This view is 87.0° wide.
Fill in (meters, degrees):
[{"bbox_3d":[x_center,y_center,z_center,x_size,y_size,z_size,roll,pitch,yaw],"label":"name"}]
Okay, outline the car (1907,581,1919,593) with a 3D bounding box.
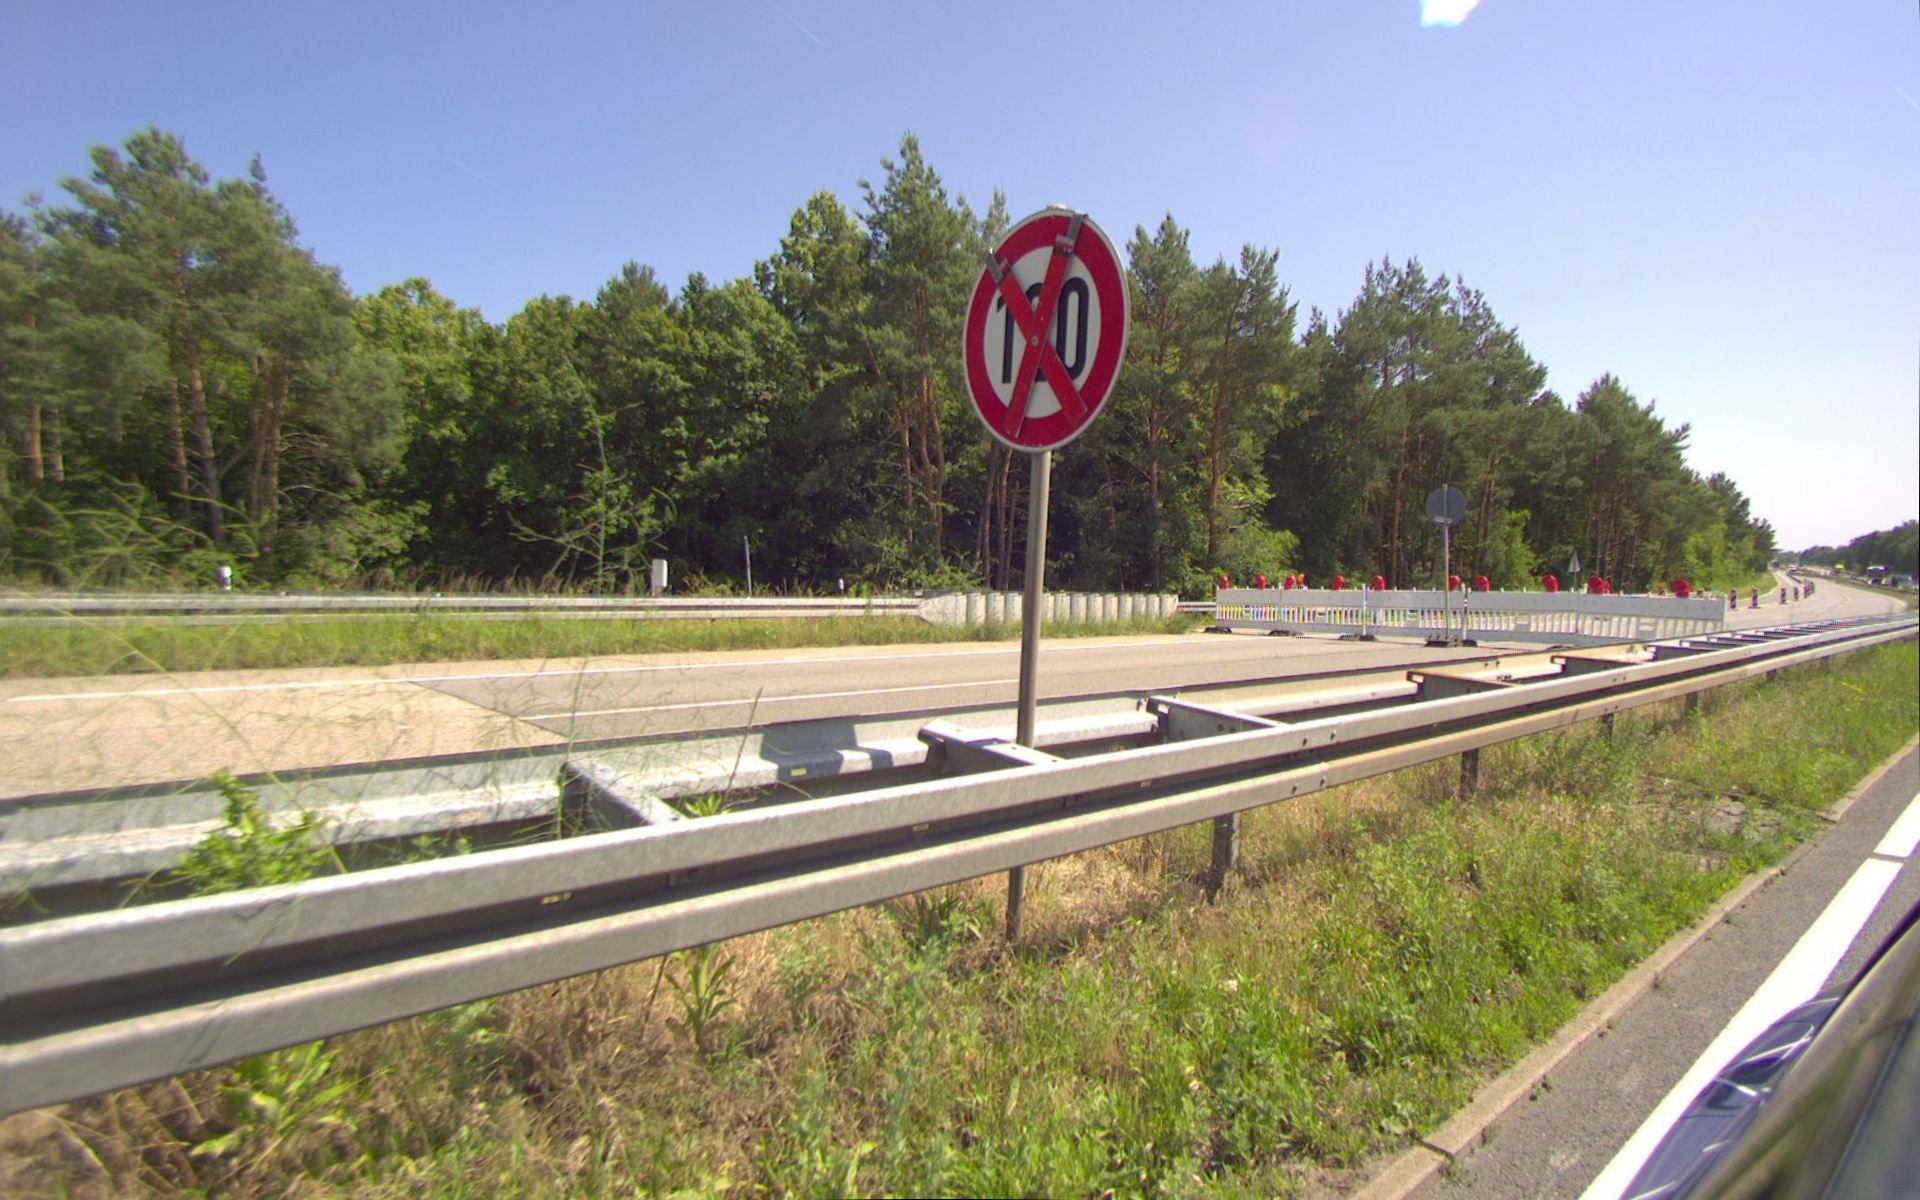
[{"bbox_3d":[145.376,-1.986,154.132,1.522,1.677,3.921,2,2,41],"label":"car"}]
